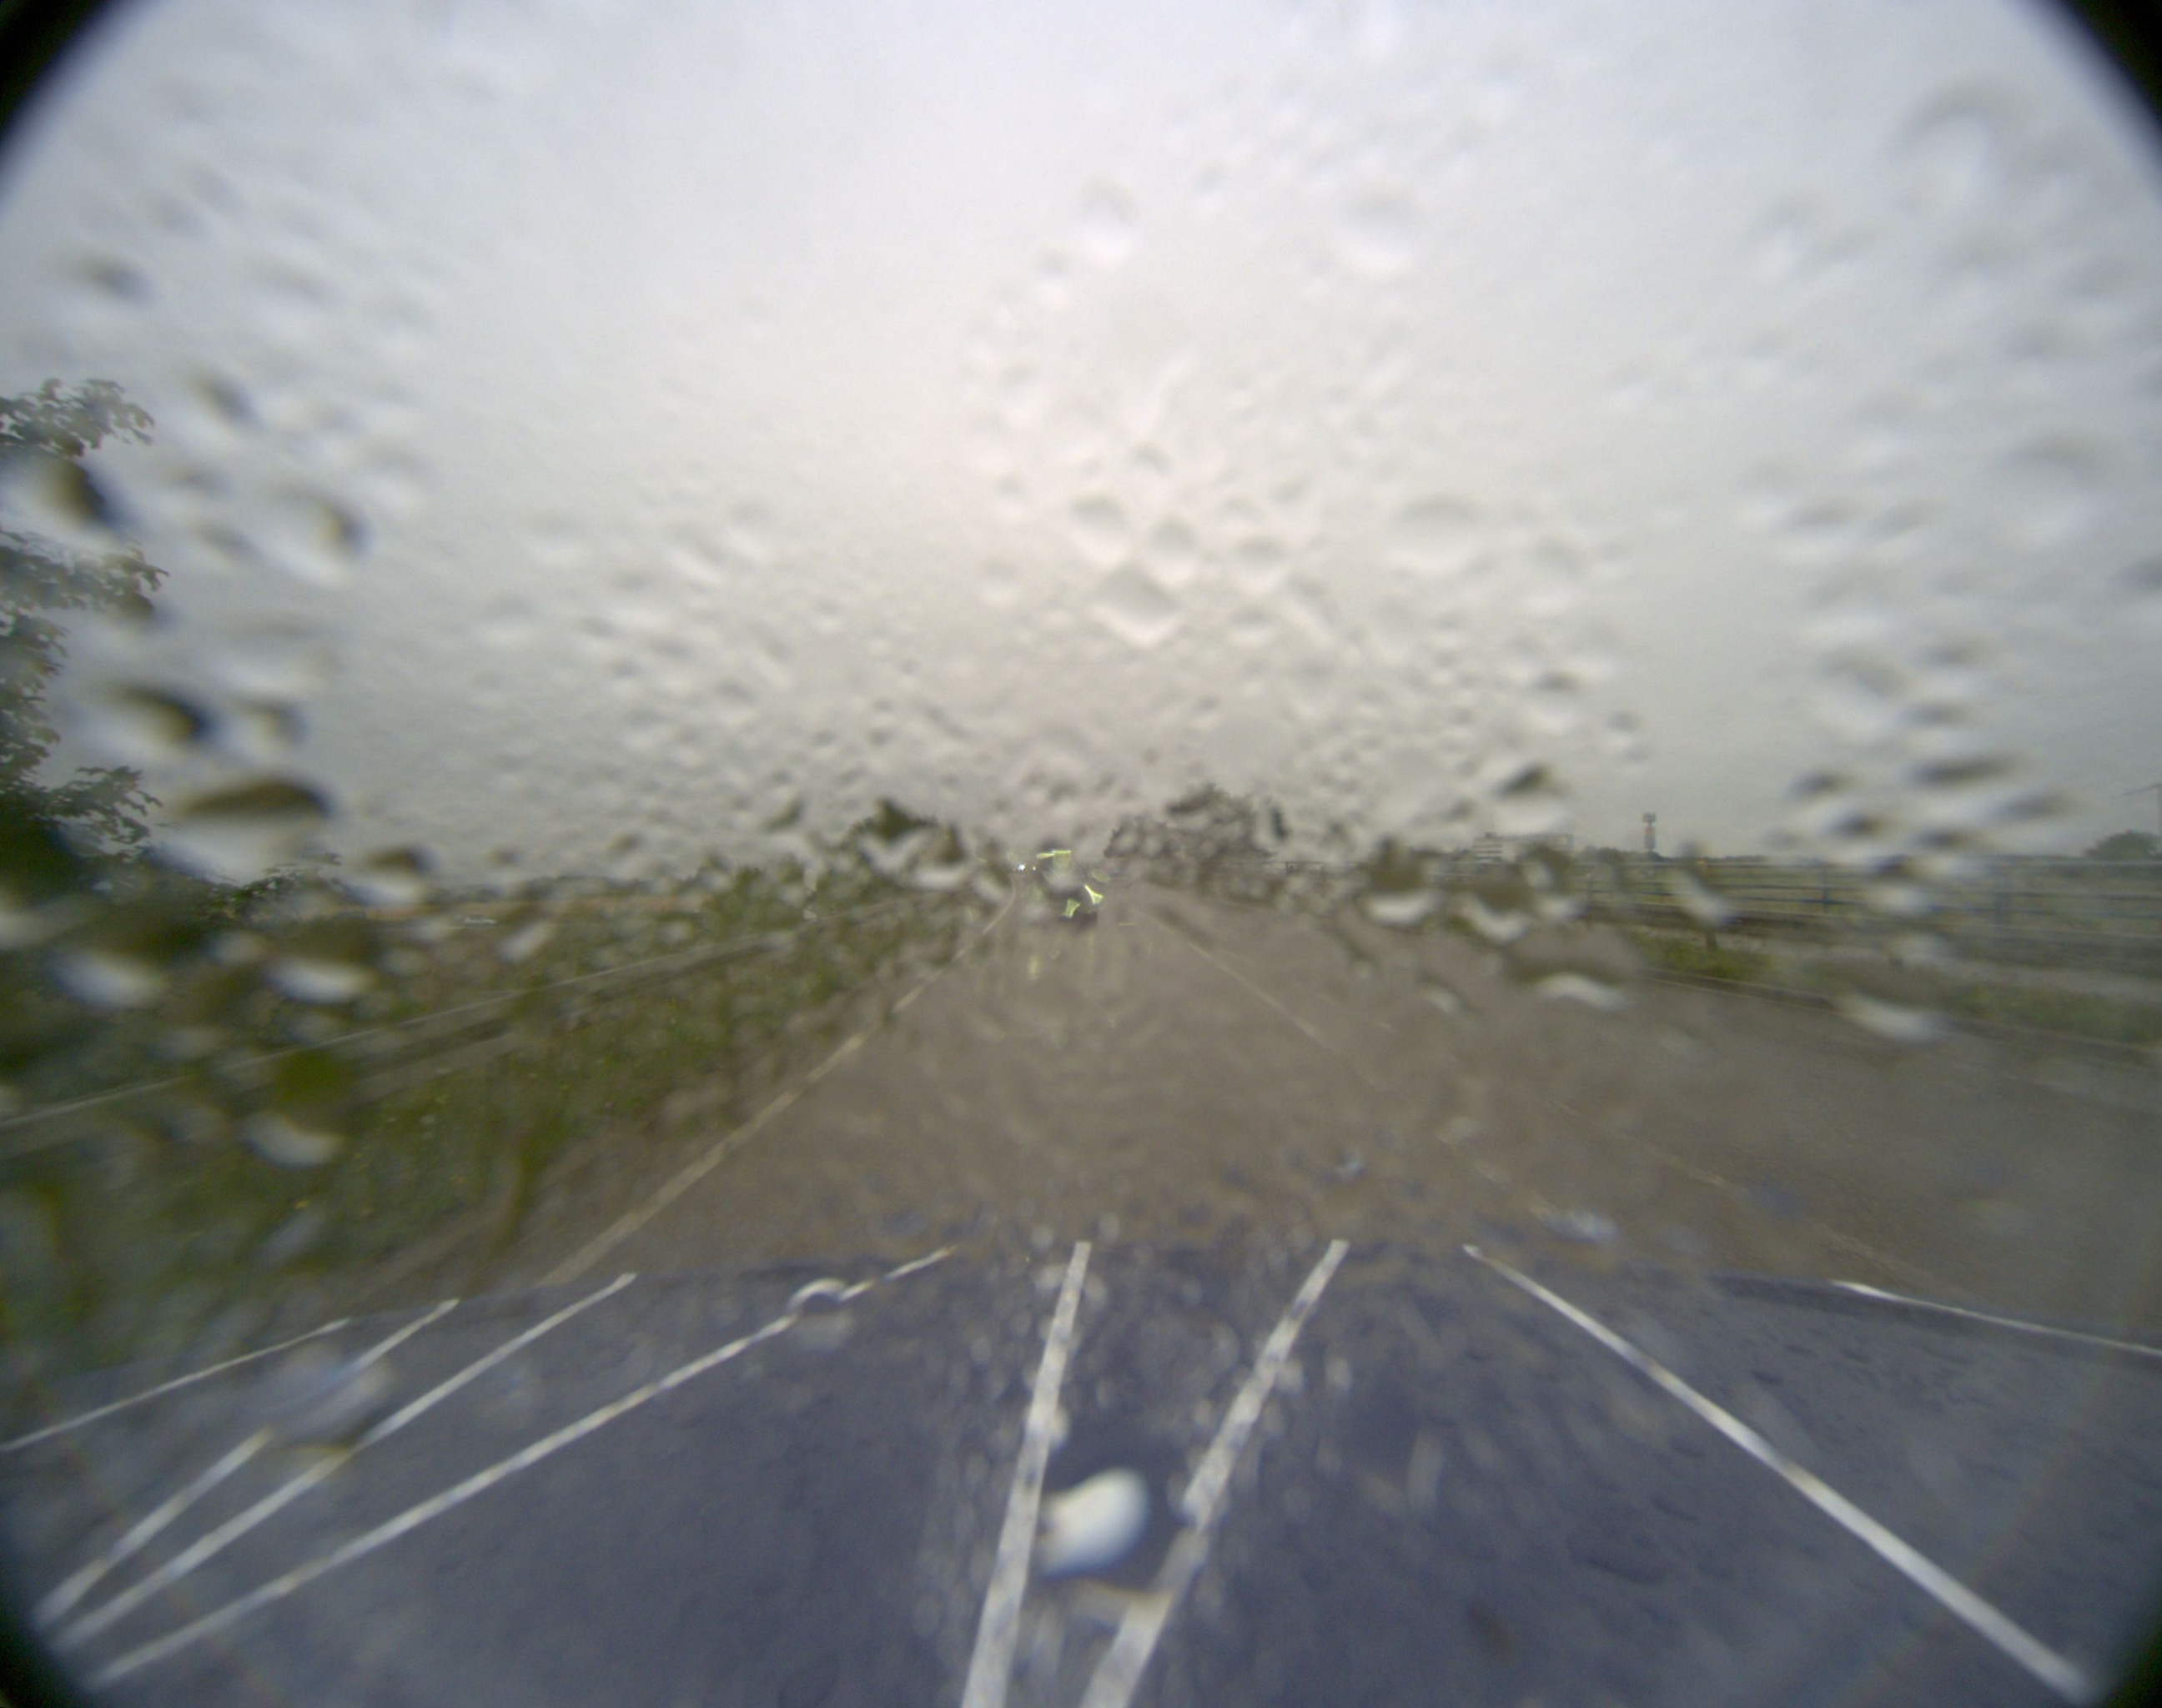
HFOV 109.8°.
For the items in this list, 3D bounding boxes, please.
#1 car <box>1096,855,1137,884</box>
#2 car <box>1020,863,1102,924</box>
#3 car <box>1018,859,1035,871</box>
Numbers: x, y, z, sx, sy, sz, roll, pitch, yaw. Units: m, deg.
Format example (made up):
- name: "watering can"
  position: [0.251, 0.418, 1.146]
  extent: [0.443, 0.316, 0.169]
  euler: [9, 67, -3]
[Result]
- name: "car"
  position: [1.881, 0.809, 41.375]
  extent: [1.786, 1.517, 4.167]
  euler: [0, 0, -4]
- name: "car"
  position: [-0.527, 0.945, 20.062]
  extent: [1.909, 1.361, 4.564]
  euler: [-1, 0, -1]
- name: "car"
  position: [-6.263, 1.228, 87.007]
  extent: [1.910, 1.361, 4.563]
  euler: [-1, 0, -5]
